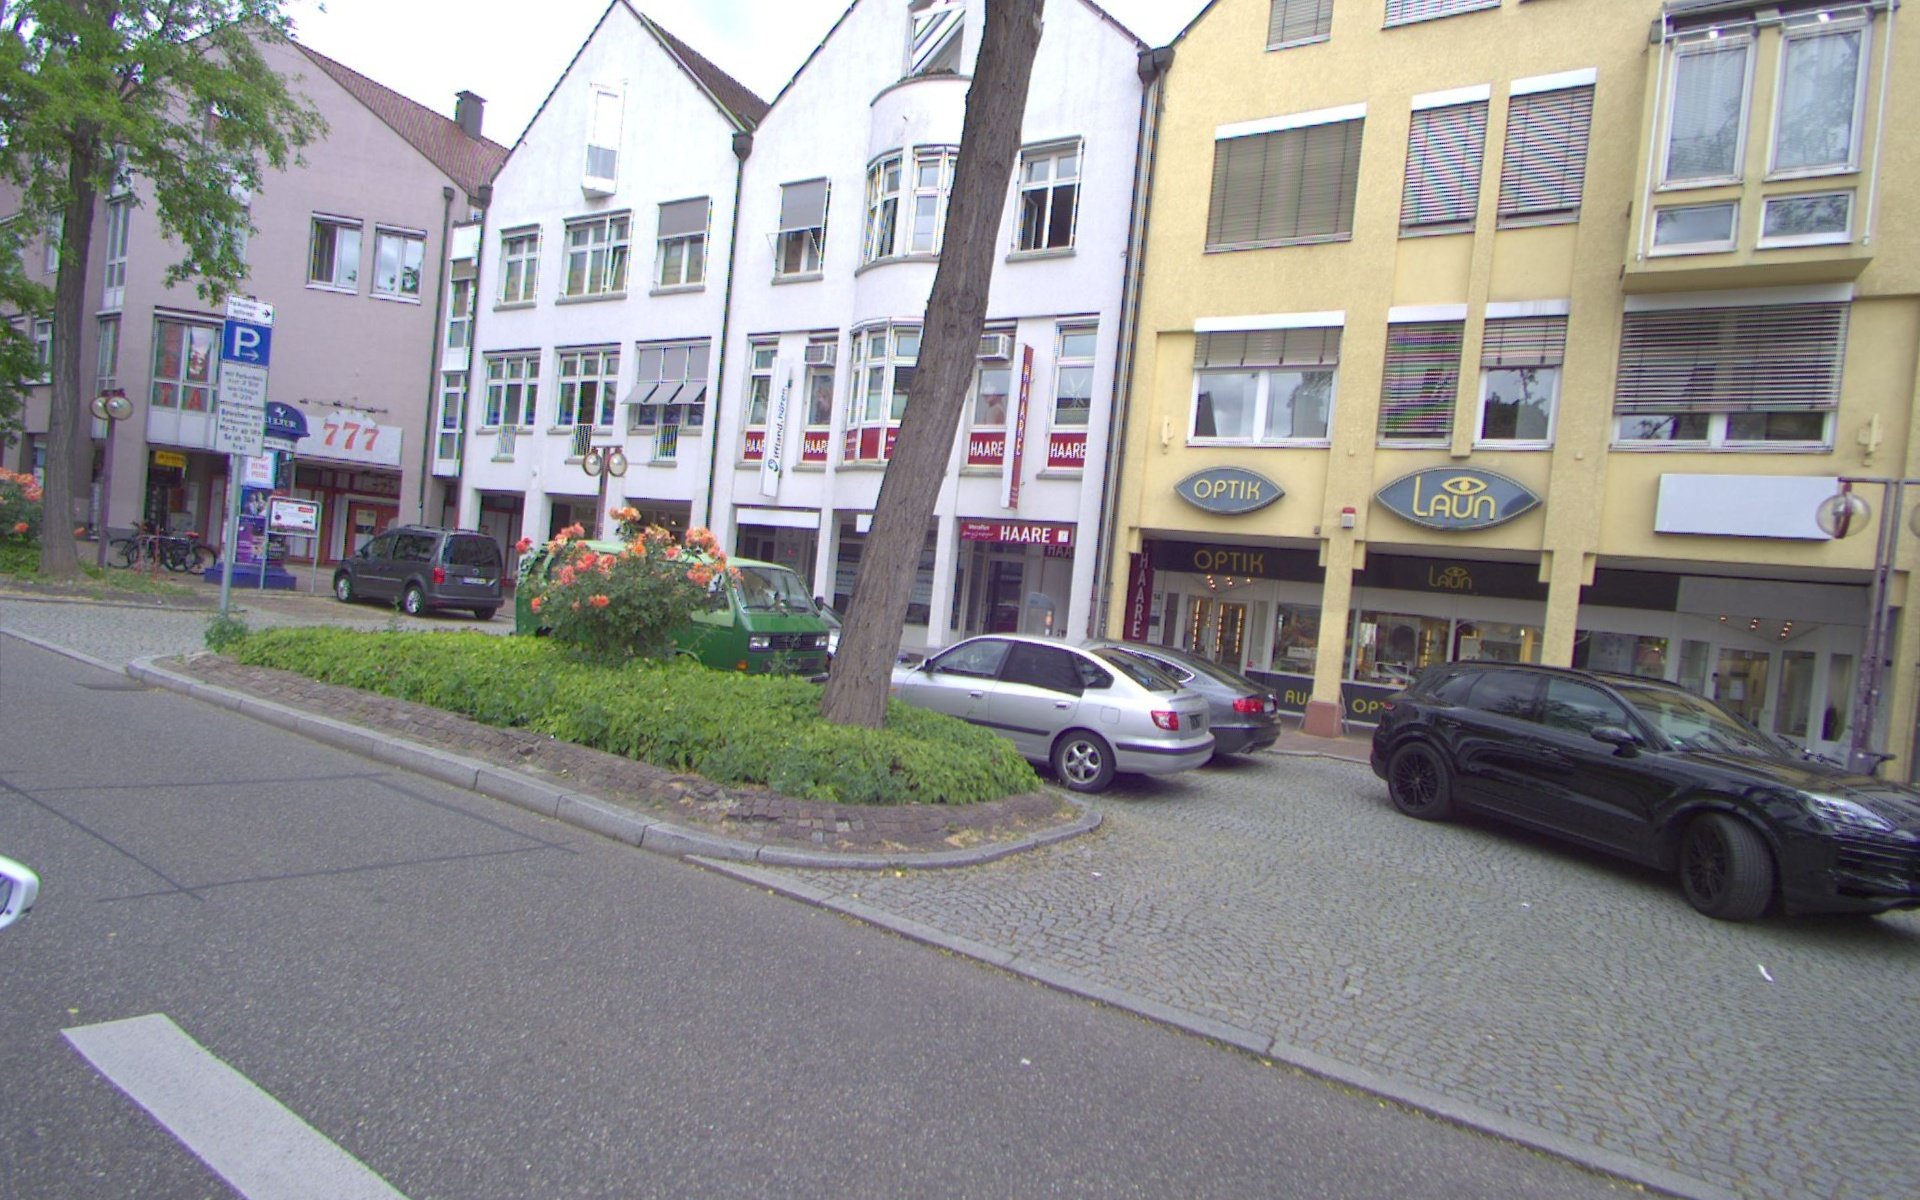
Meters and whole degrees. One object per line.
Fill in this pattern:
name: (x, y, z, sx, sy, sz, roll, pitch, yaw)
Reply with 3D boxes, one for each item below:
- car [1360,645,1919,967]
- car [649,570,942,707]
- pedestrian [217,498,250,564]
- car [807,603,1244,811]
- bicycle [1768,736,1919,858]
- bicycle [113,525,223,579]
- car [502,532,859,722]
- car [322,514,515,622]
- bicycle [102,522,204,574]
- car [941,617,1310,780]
car: (6.043, 1.528, 9.030, 1.832, 1.692, 4.641, 6, 1, -19)
car: (-2.651, 0.545, 15.945, 4.320, 1.562, 1.797, 7, 2, 30)
pedestrian: (-21.733, -2.056, 30.095, 0.646, 1.857, 0.604, 6, 1, -36)
car: (0.649, 1.032, 11.034, 4.344, 1.469, 1.765, 7, 0, 30)
bicycle: (9.805, 2.143, 11.012, 1.356, 1.058, 0.392, 7, 2, 32)
bicycle: (-18.462, -1.109, 23.487, 0.460, 1.009, 1.901, 7, 0, 36)
car: (-3.824, 0.273, 13.554, 4.527, 1.901, 1.882, 7, 2, 30)
car: (-11.684, -0.694, 21.671, 3.898, 1.855, 1.639, 7, 1, 28)
bicycle: (-19.003, -1.212, 23.717, 0.440, 1.009, 1.769, 7, 0, 36)
car: (2.165, 1.188, 13.425, 4.344, 1.394, 1.999, 7, 1, 30)
